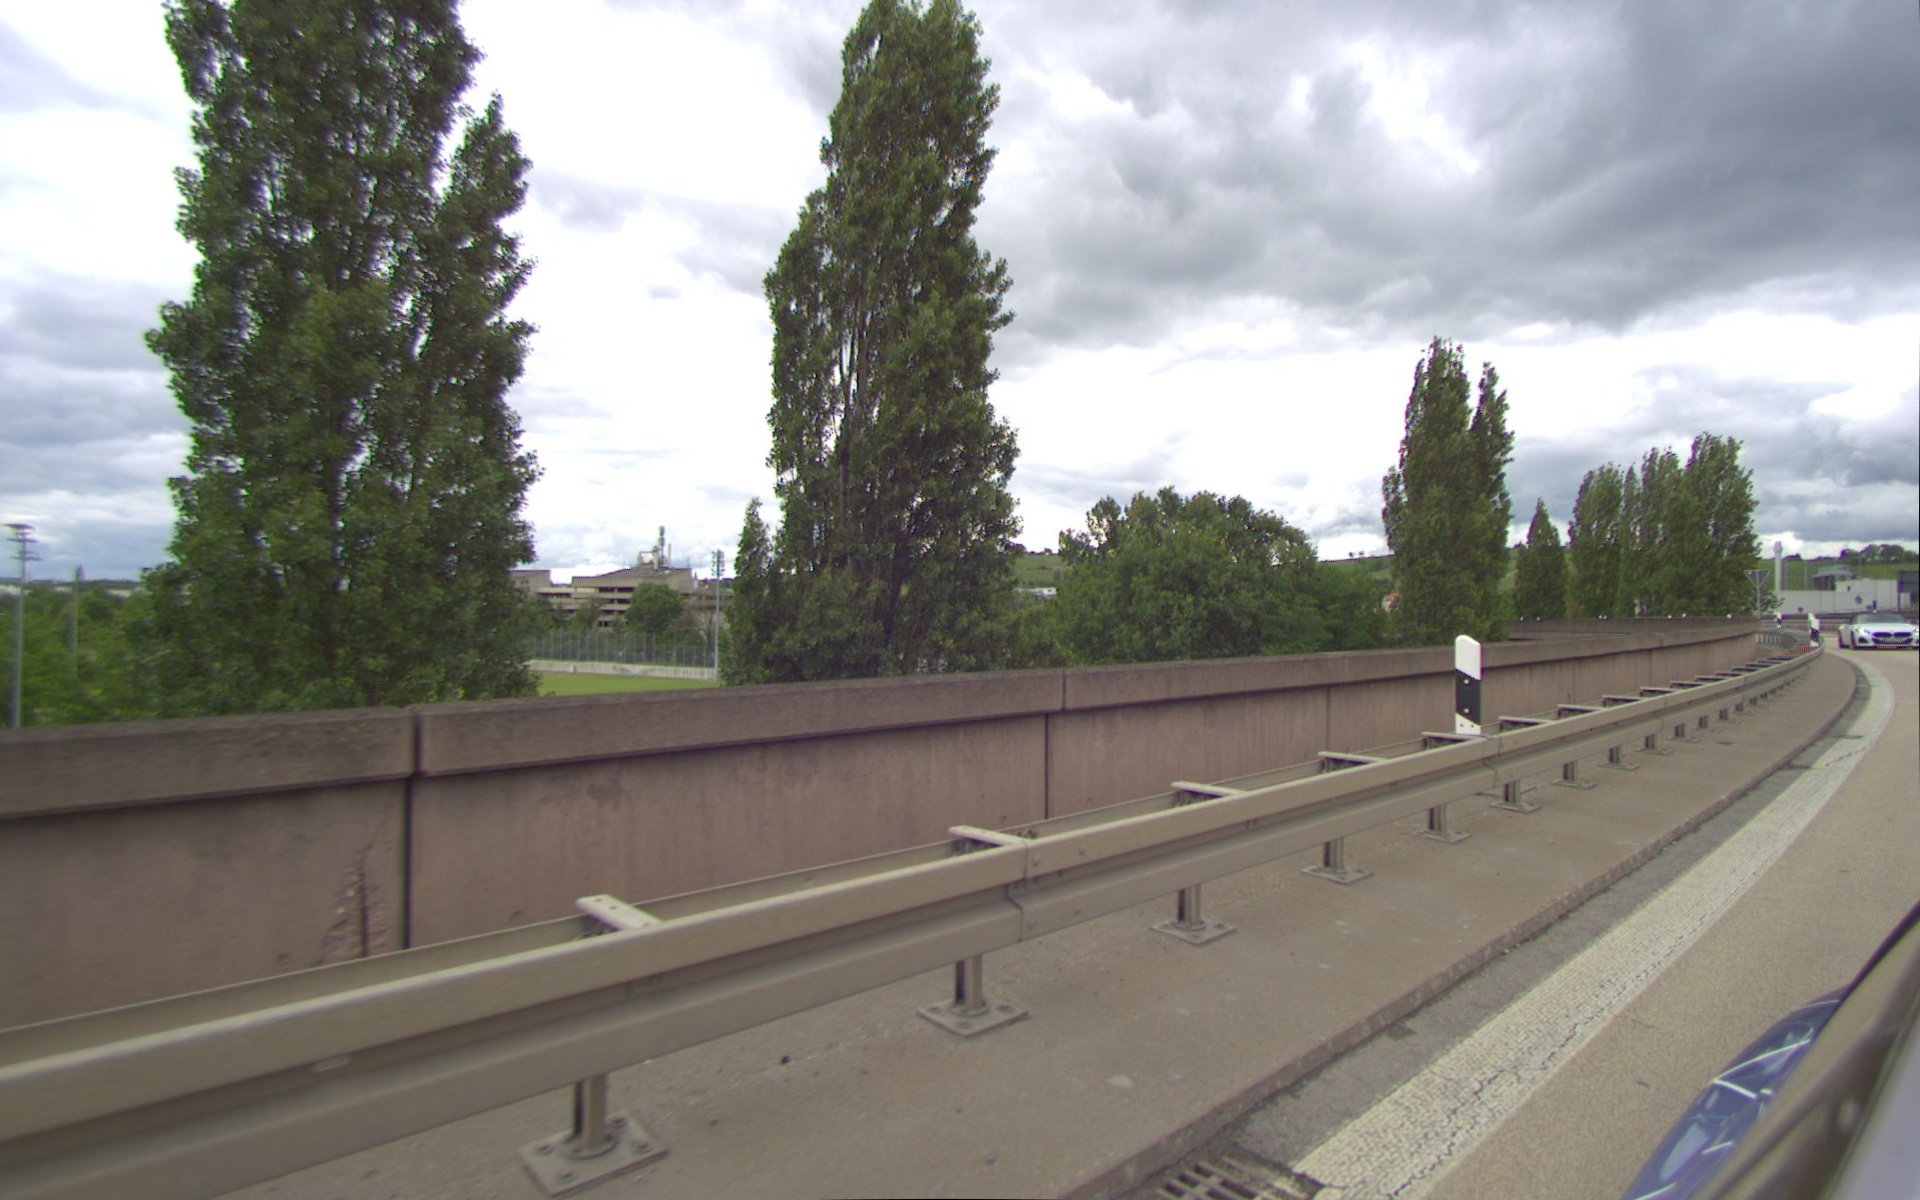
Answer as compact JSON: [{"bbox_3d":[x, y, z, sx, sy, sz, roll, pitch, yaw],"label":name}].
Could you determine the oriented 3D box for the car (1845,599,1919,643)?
[{"bbox_3d":[32.807,0.717,35.641,1.851,1.362,4.764,-3,-1,35],"label":"car"}]
